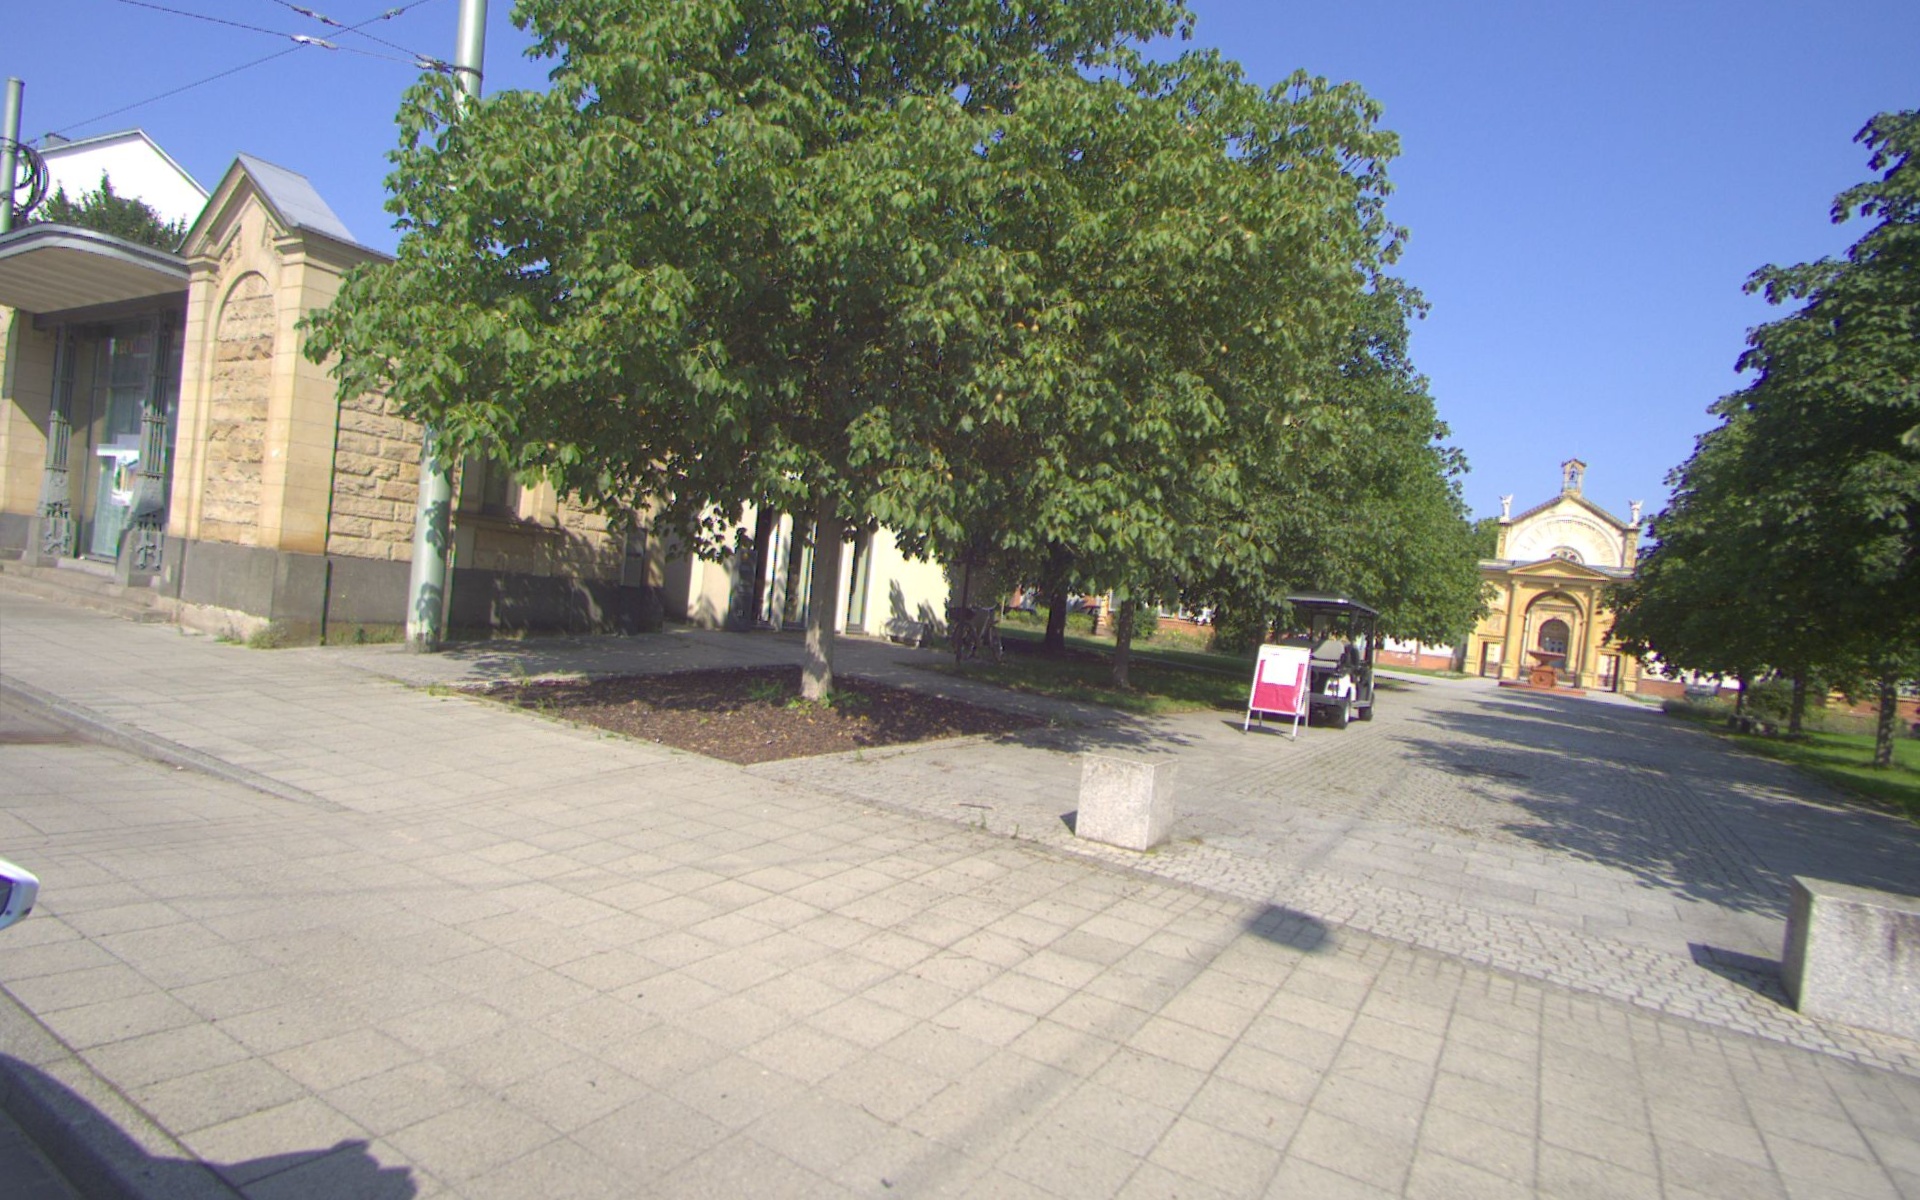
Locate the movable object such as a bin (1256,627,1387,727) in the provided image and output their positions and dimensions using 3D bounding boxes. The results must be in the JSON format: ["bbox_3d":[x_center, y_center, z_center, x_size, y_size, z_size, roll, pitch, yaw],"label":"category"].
[{"bbox_3d":[5.811,1.189,15.993,1.279,1.314,3.108,6,0,31],"label":"movable object such as a bin"}]

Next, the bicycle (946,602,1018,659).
[{"bbox_3d":[0.449,0.621,19.539,0.420,0.992,1.906,6,0,31],"label":"bicycle"}]
